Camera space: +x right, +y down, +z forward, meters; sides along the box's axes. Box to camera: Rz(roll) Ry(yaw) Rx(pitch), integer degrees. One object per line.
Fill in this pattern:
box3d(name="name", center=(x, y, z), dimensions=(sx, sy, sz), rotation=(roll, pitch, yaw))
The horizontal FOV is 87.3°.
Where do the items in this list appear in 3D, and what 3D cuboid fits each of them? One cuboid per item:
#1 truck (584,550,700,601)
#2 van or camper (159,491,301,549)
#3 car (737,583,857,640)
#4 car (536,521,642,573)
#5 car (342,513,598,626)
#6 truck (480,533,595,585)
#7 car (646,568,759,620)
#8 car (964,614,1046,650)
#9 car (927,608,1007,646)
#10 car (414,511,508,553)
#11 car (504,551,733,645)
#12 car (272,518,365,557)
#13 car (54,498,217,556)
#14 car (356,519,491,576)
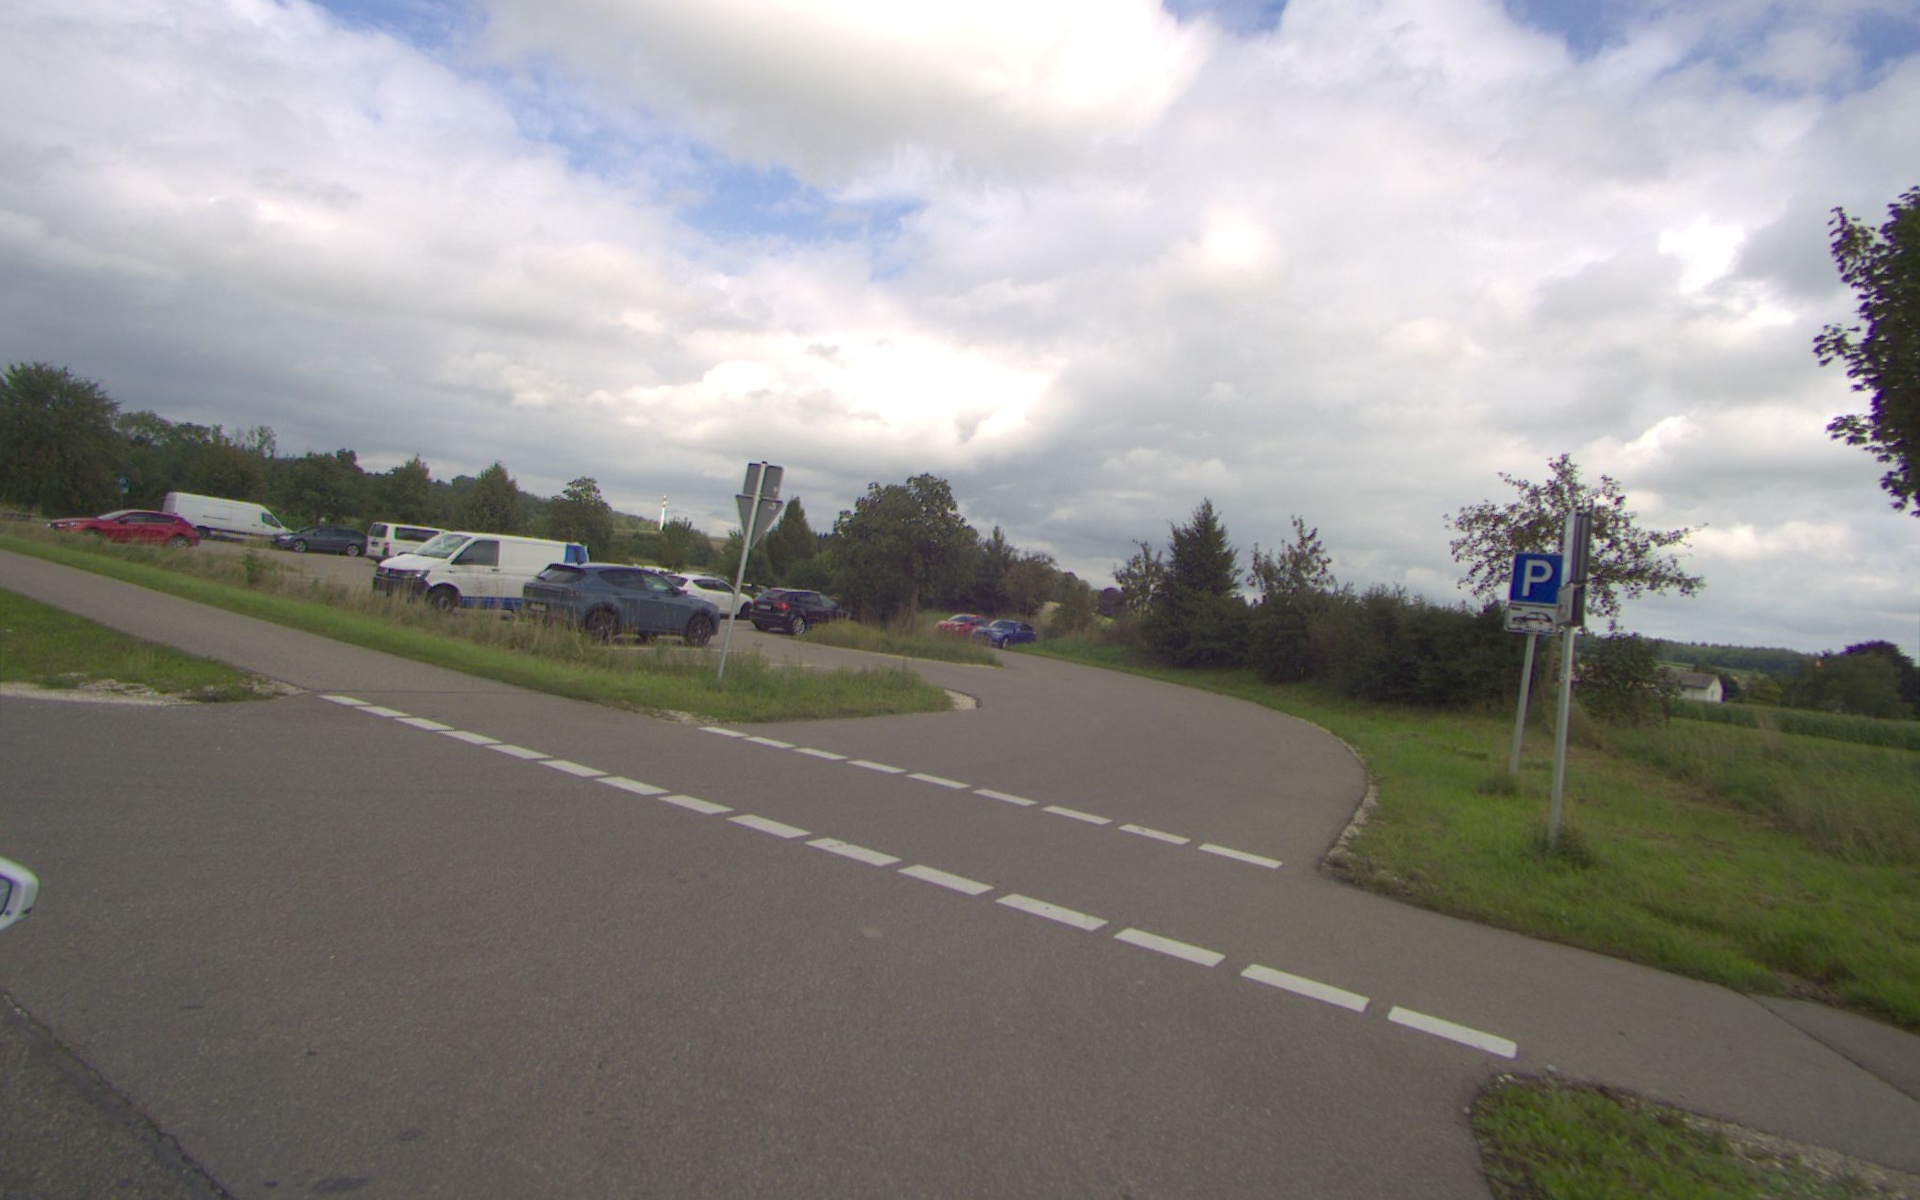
box3d(name="truck", center=(-19.369, -1.501, 61.207), dimensions=(6.277, 2.245, 3.134), rotation=(7, 0, 29))
box3d(name="van or camper", center=(-45.385, -4.920, 62.745), dimensions=(2.017, 2.593, 6.744), rotation=(7, 0, 36))
box3d(name="car", center=(-5.191, 0.406, 32.476), dimensions=(1.701, 1.408, 3.692), rotation=(7, -1, 32))
box3d(name="car", center=(-15.463, -2.195, 42.029), dimensions=(1.737, 1.627, 3.678), rotation=(7, 0, 45))
box3d(name="car", center=(-11.232, -0.621, 23.468), dimensions=(1.923, 1.998, 4.952), rotation=(7, -1, 32))
box3d(name="truck", center=(-29.752, -2.838, 71.154), dimensions=(2.786, 2.748, 6.885), rotation=(7, -1, 34))
box3d(name="car", center=(-8.995, -0.179, 35.377), dimensions=(1.729, 1.408, 3.696), rotation=(7, -1, 27))
box3d(name="car", center=(2.180, 1.546, 47.893), dimensions=(1.906, 1.281, 3.988), rotation=(7, -1, 36))
box3d(name="car", center=(0.403, 1.368, 49.877), dimensions=(1.890, 1.456, 3.988), rotation=(7, -1, 36))
box3d(name="car", center=(-26.627, -3.591, 53.797), dimensions=(1.964, 1.615, 3.997), rotation=(7, -1, 25))
box3d(name="car", center=(-7.040, 0.027, 21.176), dimensions=(1.808, 1.586, 4.274), rotation=(7, 1, 32))
box3d(name="car", center=(-33.389, -3.226, 52.398), dimensions=(1.679, 1.457, 3.628), rotation=(7, -1, 34))
box3d(name="car", center=(-31.168, -2.732, 38.171), dimensions=(1.938, 1.595, 4.332), rotation=(7, 1, 31))
box3d(name="car", center=(-24.959, -2.422, 46.967), dimensions=(2.194, 2.026, 5.029), rotation=(7, 1, 31))
